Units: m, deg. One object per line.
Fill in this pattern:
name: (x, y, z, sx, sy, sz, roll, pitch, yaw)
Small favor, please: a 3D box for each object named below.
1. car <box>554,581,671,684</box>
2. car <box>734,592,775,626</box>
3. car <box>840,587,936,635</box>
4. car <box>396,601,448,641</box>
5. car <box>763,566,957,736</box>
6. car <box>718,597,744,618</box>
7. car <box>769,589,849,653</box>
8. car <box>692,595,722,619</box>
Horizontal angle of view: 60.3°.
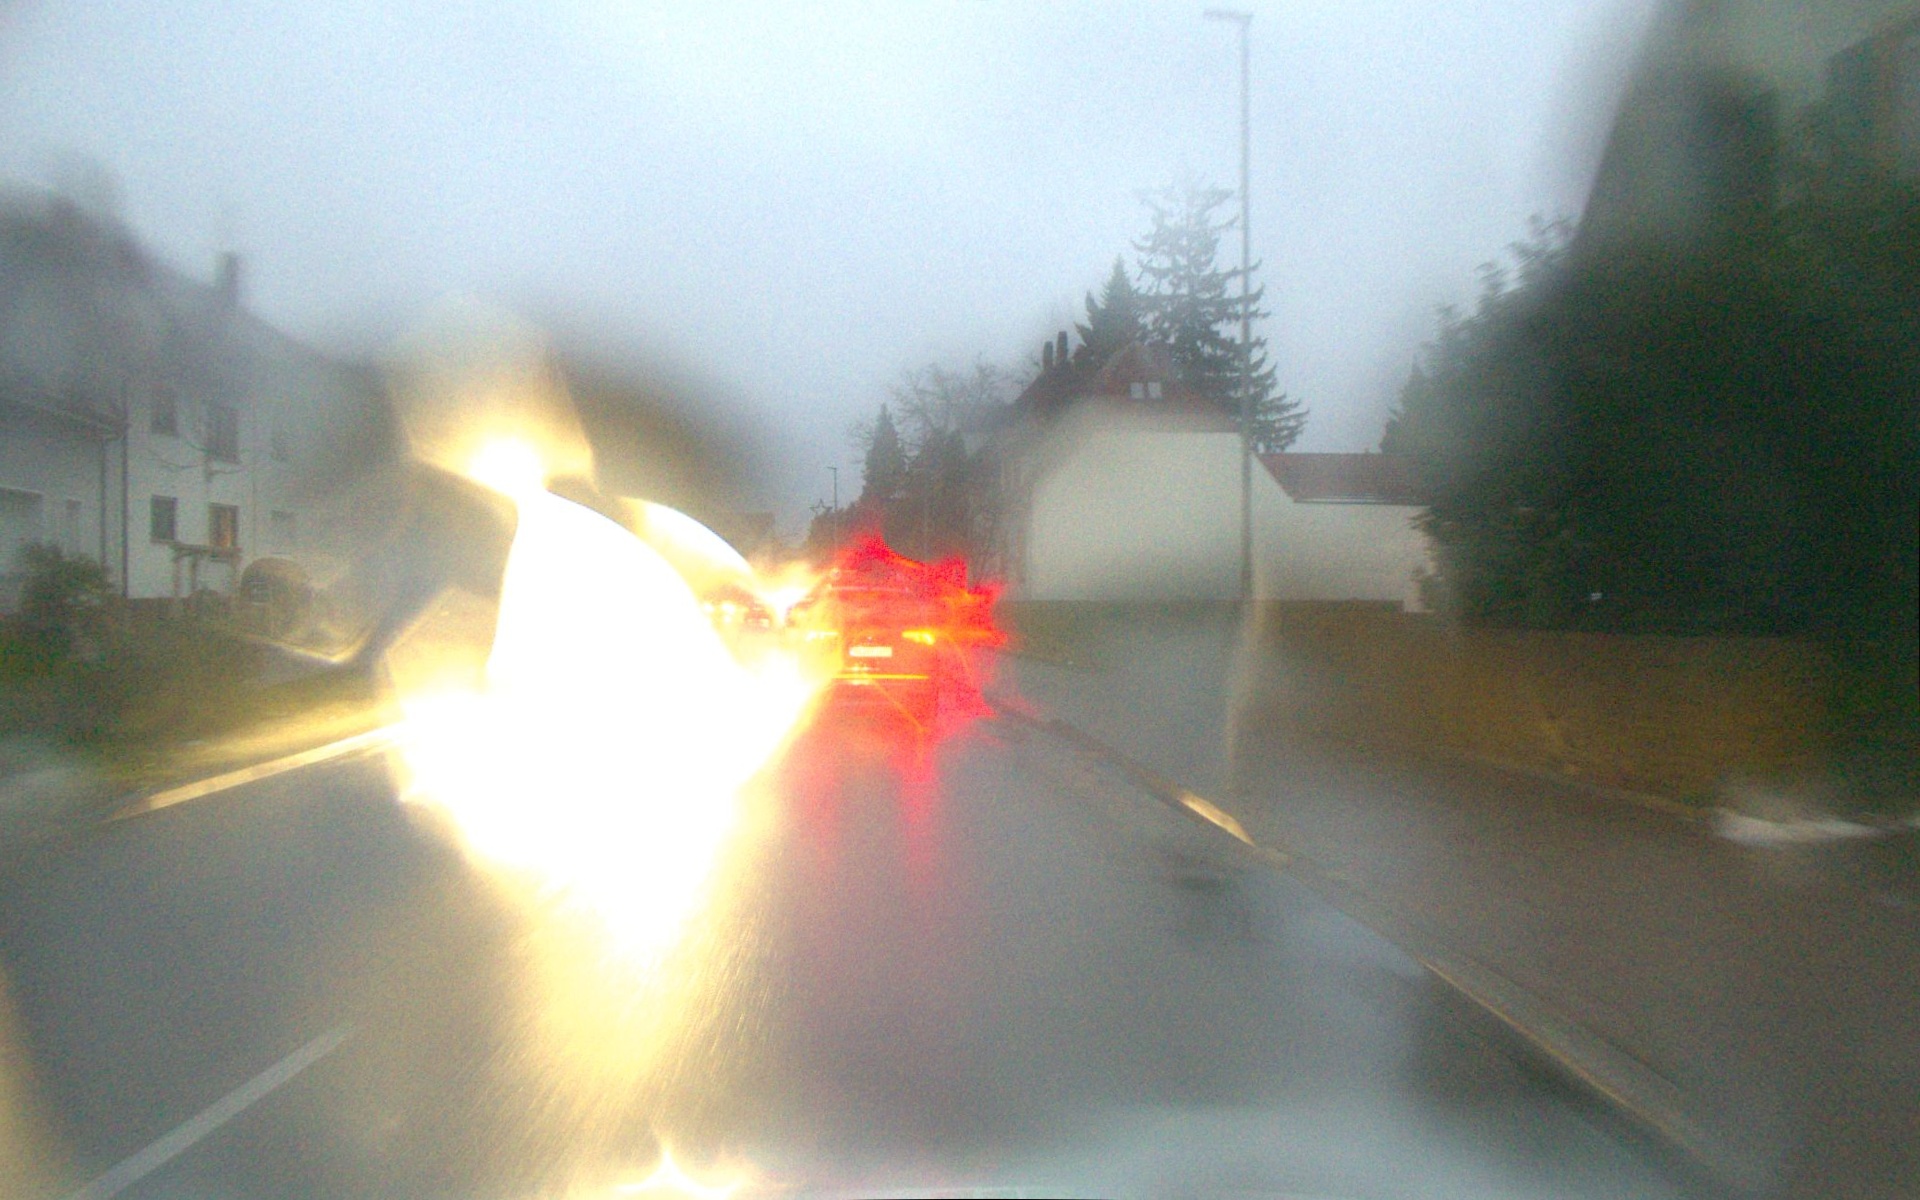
car: (-5.959, 0.522, 28.407, 1.791, 1.581, 3.988, -2, 0, -12)
car: (-12.292, 0.533, 98.588, 2.267, 1.972, 5.007, -1, 0, -9)
car: (-3.187, 0.480, 73.194, 4.163, 2.049, 1.809, -1, 0, -4)
car: (-20.290, 0.782, 62.365, 1.750, 1.417, 3.979, 2, -1, -18)
car: (-1.396, 0.616, 21.997, 2.264, 1.972, 5.012, -1, 0, -5)
car: (-17.888, 0.580, 129.211, 1.876, 1.456, 3.996, 0, 3, -6)
car: (-4.234, 0.555, 45.946, 1.824, 1.676, 3.989, 0, 1, -11)
car: (-17.750, 0.453, 116.327, 1.876, 1.549, 3.996, 0, 2, -6)
